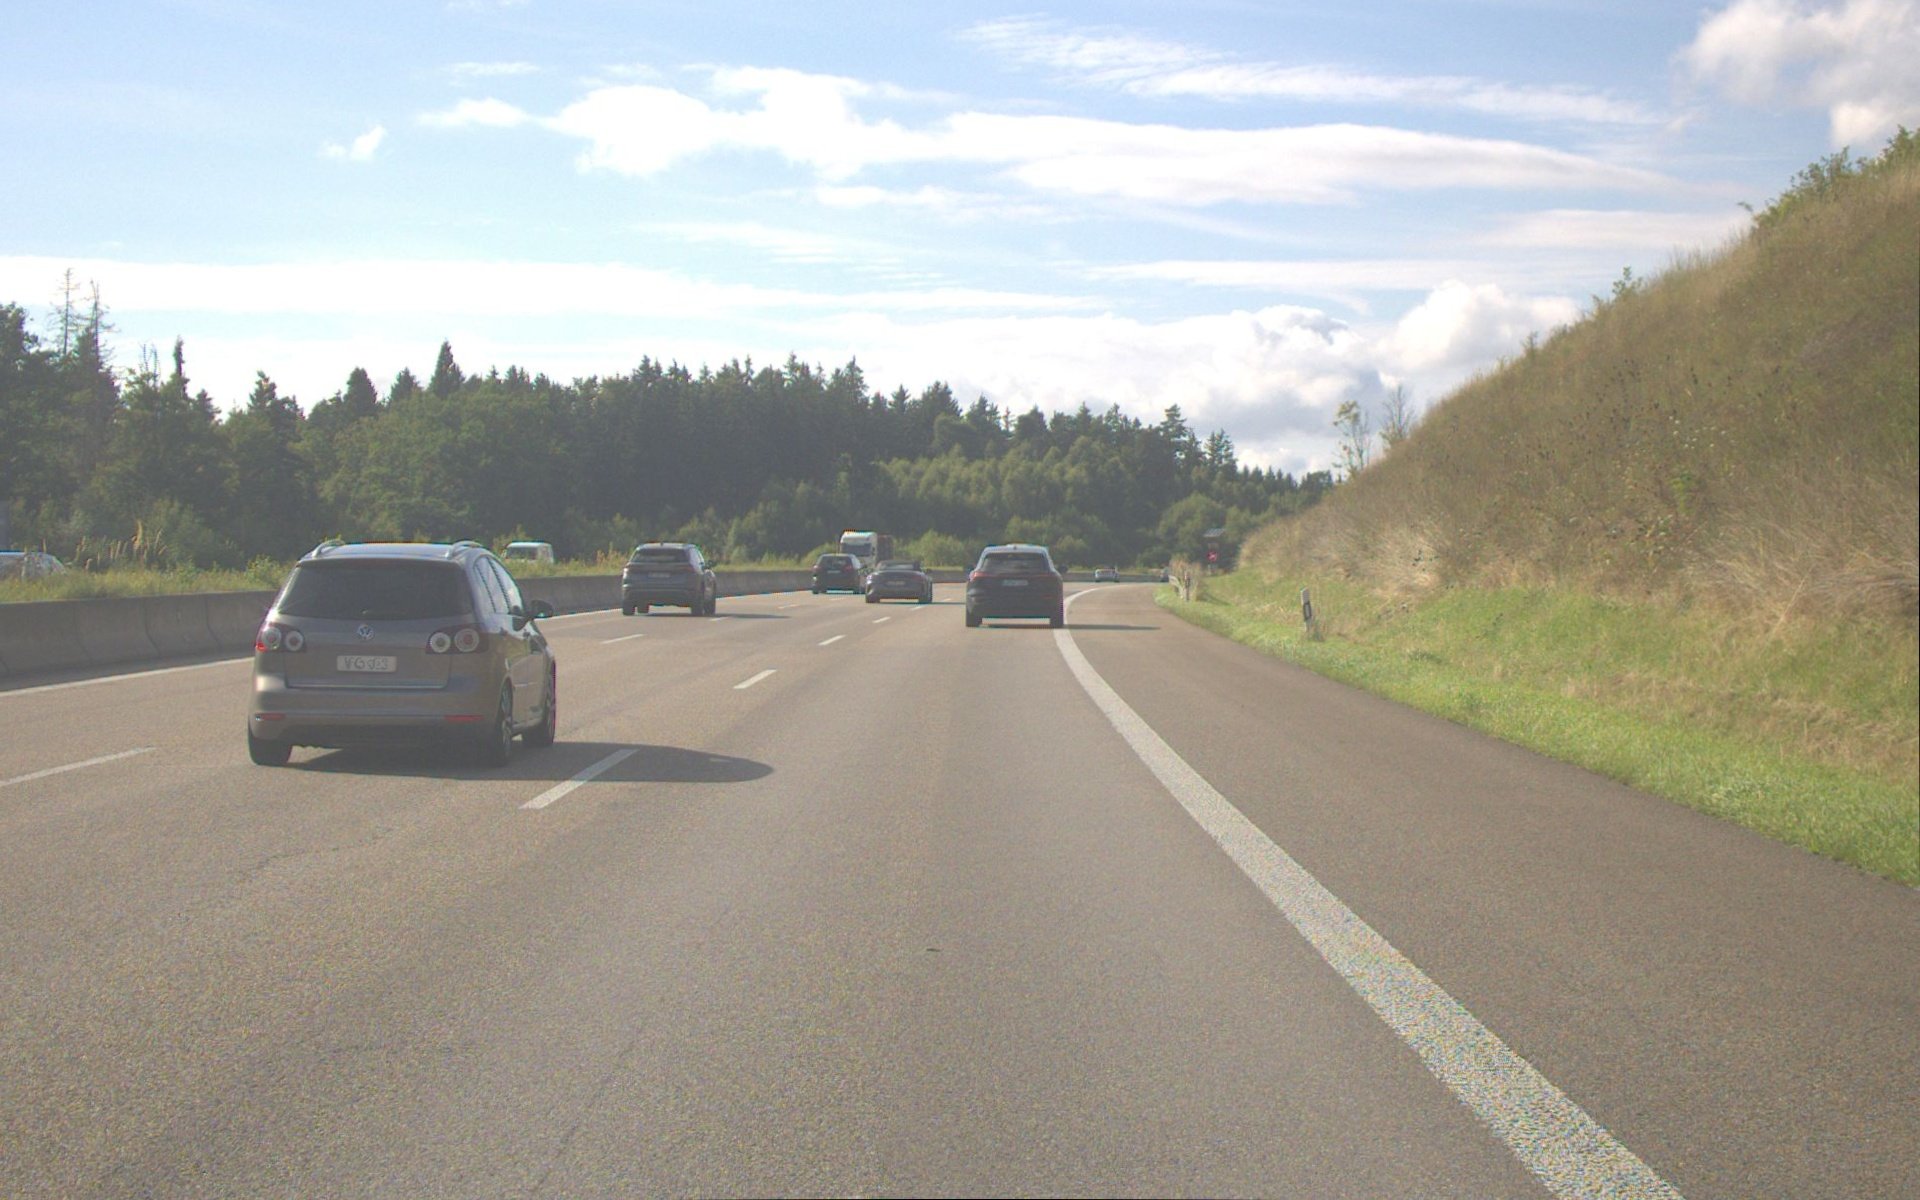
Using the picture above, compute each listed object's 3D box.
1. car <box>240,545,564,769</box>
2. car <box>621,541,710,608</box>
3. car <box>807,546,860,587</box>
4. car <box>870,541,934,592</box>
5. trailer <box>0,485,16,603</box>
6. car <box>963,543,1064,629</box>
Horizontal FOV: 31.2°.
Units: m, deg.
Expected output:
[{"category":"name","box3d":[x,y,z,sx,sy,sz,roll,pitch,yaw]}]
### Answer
[{"category":"car","box3d":[-3.980,0.357,25.103,1.873,1.492,3.880,0,1,-2]},{"category":"car","box3d":[-6.756,-0.598,79.178,1.873,1.492,3.880,0,1,-2]},{"category":"car","box3d":[-4.705,-1.254,128.649,1.873,1.492,3.880,0,1,-1]},{"category":"car","box3d":[-1.737,-1.021,103.645,1.873,1.492,3.880,0,1,0]},{"category":"trailer","box3d":[-22.846,-1.252,76.361,2.269,2.674,5.563,1,1,-1]},{"category":"car","box3d":[1.048,-0.306,69.244,1.873,1.669,3.890,0,1,-1]}]
